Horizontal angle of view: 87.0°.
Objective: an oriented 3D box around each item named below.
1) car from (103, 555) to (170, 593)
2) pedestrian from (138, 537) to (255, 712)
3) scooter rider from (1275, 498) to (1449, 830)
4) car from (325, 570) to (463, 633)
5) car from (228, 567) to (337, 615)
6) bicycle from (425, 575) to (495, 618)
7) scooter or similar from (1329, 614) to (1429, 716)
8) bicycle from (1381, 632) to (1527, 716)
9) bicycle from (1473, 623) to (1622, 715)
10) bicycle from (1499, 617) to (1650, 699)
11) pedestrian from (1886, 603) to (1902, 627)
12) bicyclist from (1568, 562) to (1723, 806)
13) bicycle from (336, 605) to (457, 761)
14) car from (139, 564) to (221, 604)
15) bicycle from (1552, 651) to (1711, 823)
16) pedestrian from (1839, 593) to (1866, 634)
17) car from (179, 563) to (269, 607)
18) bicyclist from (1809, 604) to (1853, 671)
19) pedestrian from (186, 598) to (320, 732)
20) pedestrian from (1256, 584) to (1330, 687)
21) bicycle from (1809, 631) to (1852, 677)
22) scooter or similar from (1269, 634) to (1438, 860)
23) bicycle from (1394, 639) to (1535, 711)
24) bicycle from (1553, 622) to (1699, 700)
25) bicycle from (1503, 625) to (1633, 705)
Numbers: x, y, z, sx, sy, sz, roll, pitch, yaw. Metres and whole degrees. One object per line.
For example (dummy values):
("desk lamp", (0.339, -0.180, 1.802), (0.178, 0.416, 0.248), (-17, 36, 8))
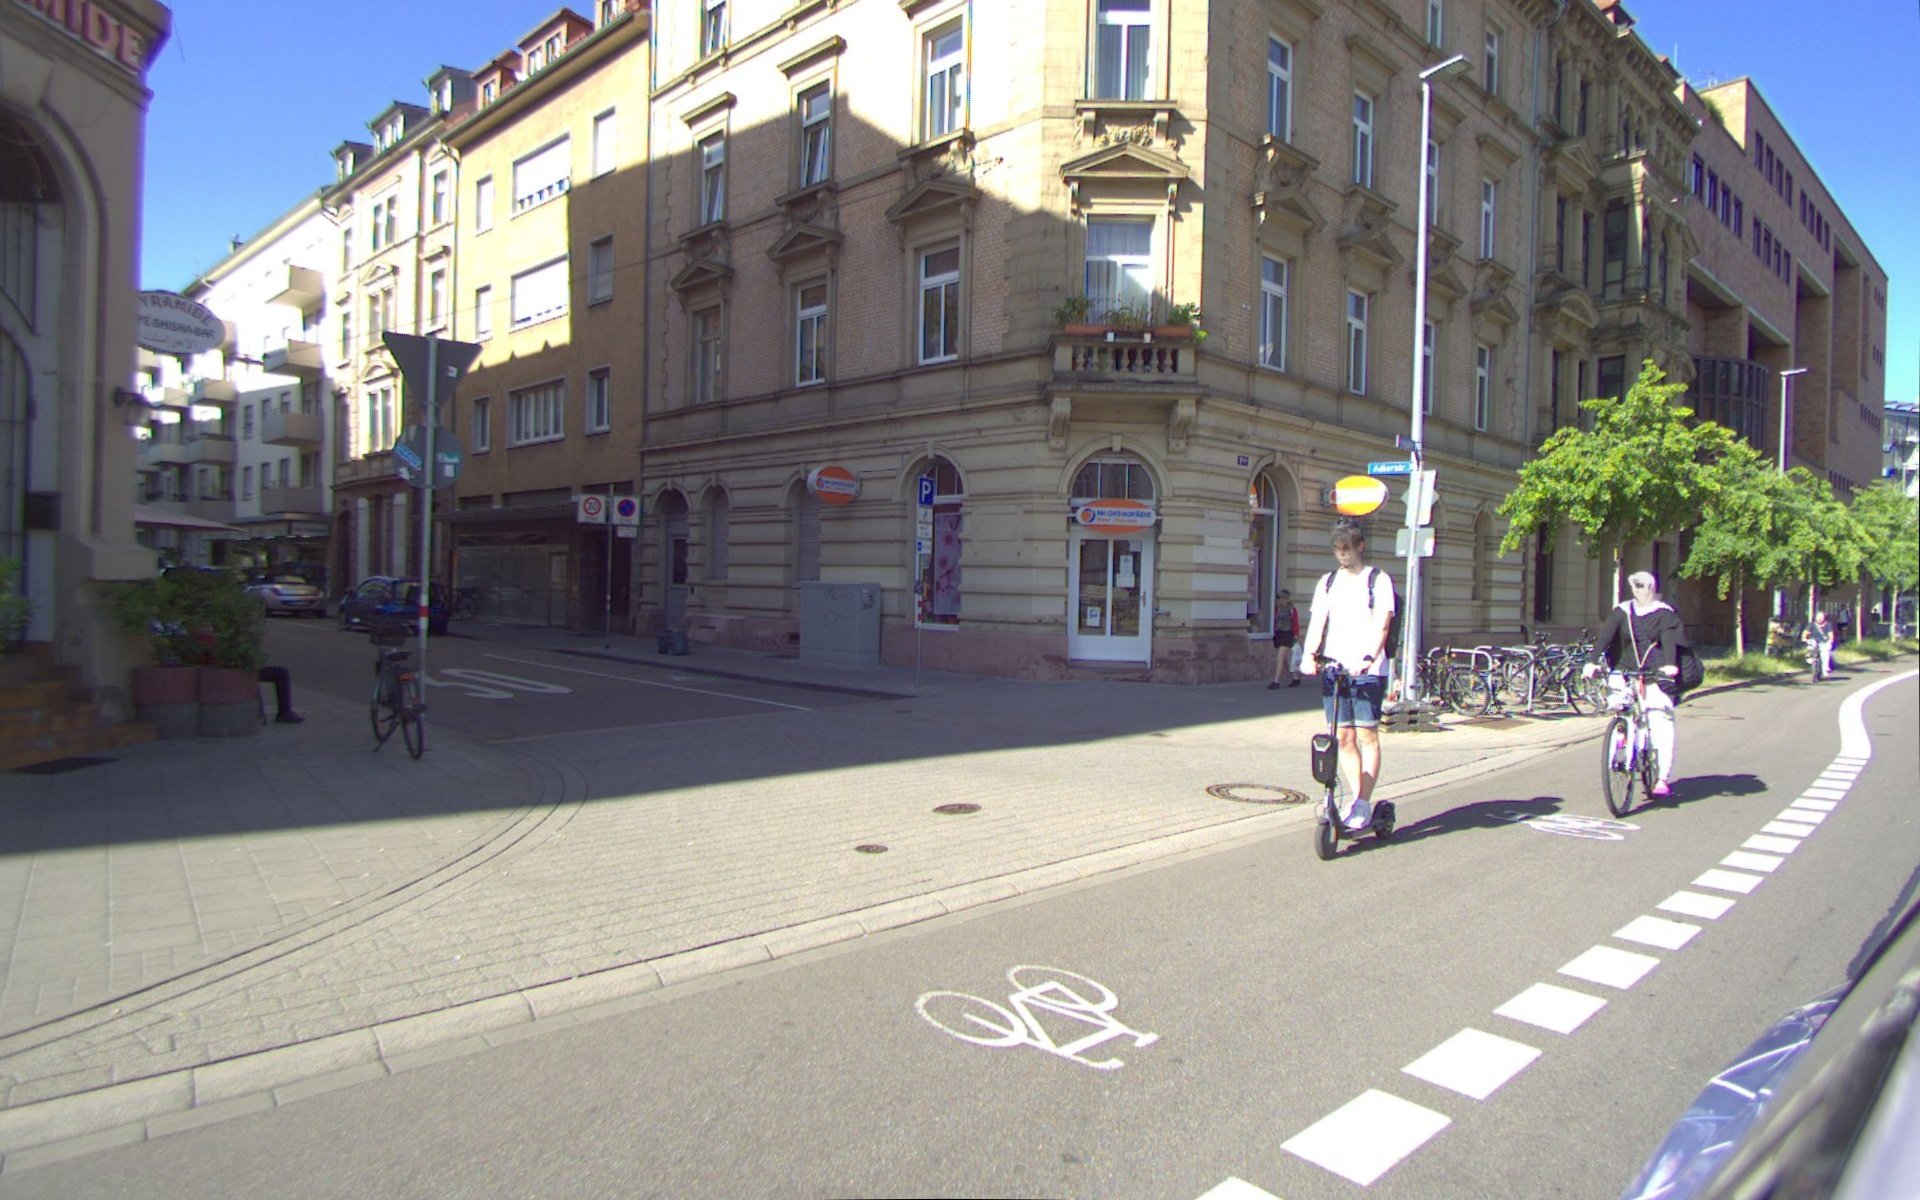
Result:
("car", (-37.550, -1.193, 46.109), (3.758, 1.686, 1.775), (2, 1, 42))
("pedestrian", (-8.232, 0.248, 10.916), (0.906, 1.783, 0.854), (0, -1, 43))
("scooter rider", (2.504, 0.367, 6.299), (0.885, 1.884, 0.667), (1, -2, -41))
("car", (-14.512, 0.019, 25.882), (3.983, 1.438, 1.775), (2, -1, 40))
("car", (-21.297, -0.305, 31.772), (3.983, 1.351, 1.775), (2, -1, 40))
("bicycle", (-14.773, -0.114, 29.875), (1.988, 1.193, 0.629), (2, 0, 19))
("scooter or similar", (5.382, 0.812, 13.052), (0.411, 1.204, 1.115), (2, 1, -33))
("bicycle", (6.647, 0.963, 13.693), (0.595, 0.955, 1.677), (2, 1, -33))
("bicycle", (8.519, 0.962, 14.736), (0.595, 1.114, 1.729), (1, 3, -37))
("bicycle", (10.285, 0.940, 17.016), (0.697, 1.142, 2.001), (1, 3, -39))
("pedestrian", (58.679, 0.921, 63.605), (0.723, 1.505, 0.633), (1, 1, -41))
("bicyclist", (5.257, 0.603, 7.768), (0.853, 1.733, 0.780), (1, -2, -41))
("bicycle", (-5.024, 0.686, 8.966), (0.641, 1.186, 1.823), (5, -2, -36))
("car", (-30.105, -0.647, 39.048), (3.757, 1.450, 1.776), (2, 1, 40))
("bicycle", (5.117, 0.968, 7.667), (1.761, 1.106, 0.558), (1, -1, -42))
("pedestrian", (42.382, 0.648, 48.048), (1.087, 1.906, 0.789), (1, 1, -41))
("car", (-26.030, -0.540, 35.759), (3.757, 1.450, 1.776), (2, 1, 40))
("bicyclist", (20.805, 0.886, 24.160), (0.893, 1.557, 0.658), (1, -2, -41))
("pedestrian", (-6.933, 0.599, 9.928), (0.849, 1.229, 0.919), (0, 0, 43))
("pedestrian", (5.243, 0.539, 15.927), (0.911, 1.561, 0.710), (1, 1, -41))
("bicycle", (20.768, 1.277, 24.138), (1.481, 1.040, 0.558), (1, -1, -41))
("scooter or similar", (2.446, 0.845, 6.254), (1.150, 1.242, 0.491), (1, -1, -41))
("bicycle", (7.051, 1.027, 14.229), (0.595, 0.831, 1.677), (1, 2, -33))
("bicycle", (11.554, 1.022, 17.597), (1.993, 1.106, 0.835), (5, 3, 40))
("bicycle", (9.527, 0.994, 15.911), (0.595, 1.058, 1.605), (1, 3, -37))
